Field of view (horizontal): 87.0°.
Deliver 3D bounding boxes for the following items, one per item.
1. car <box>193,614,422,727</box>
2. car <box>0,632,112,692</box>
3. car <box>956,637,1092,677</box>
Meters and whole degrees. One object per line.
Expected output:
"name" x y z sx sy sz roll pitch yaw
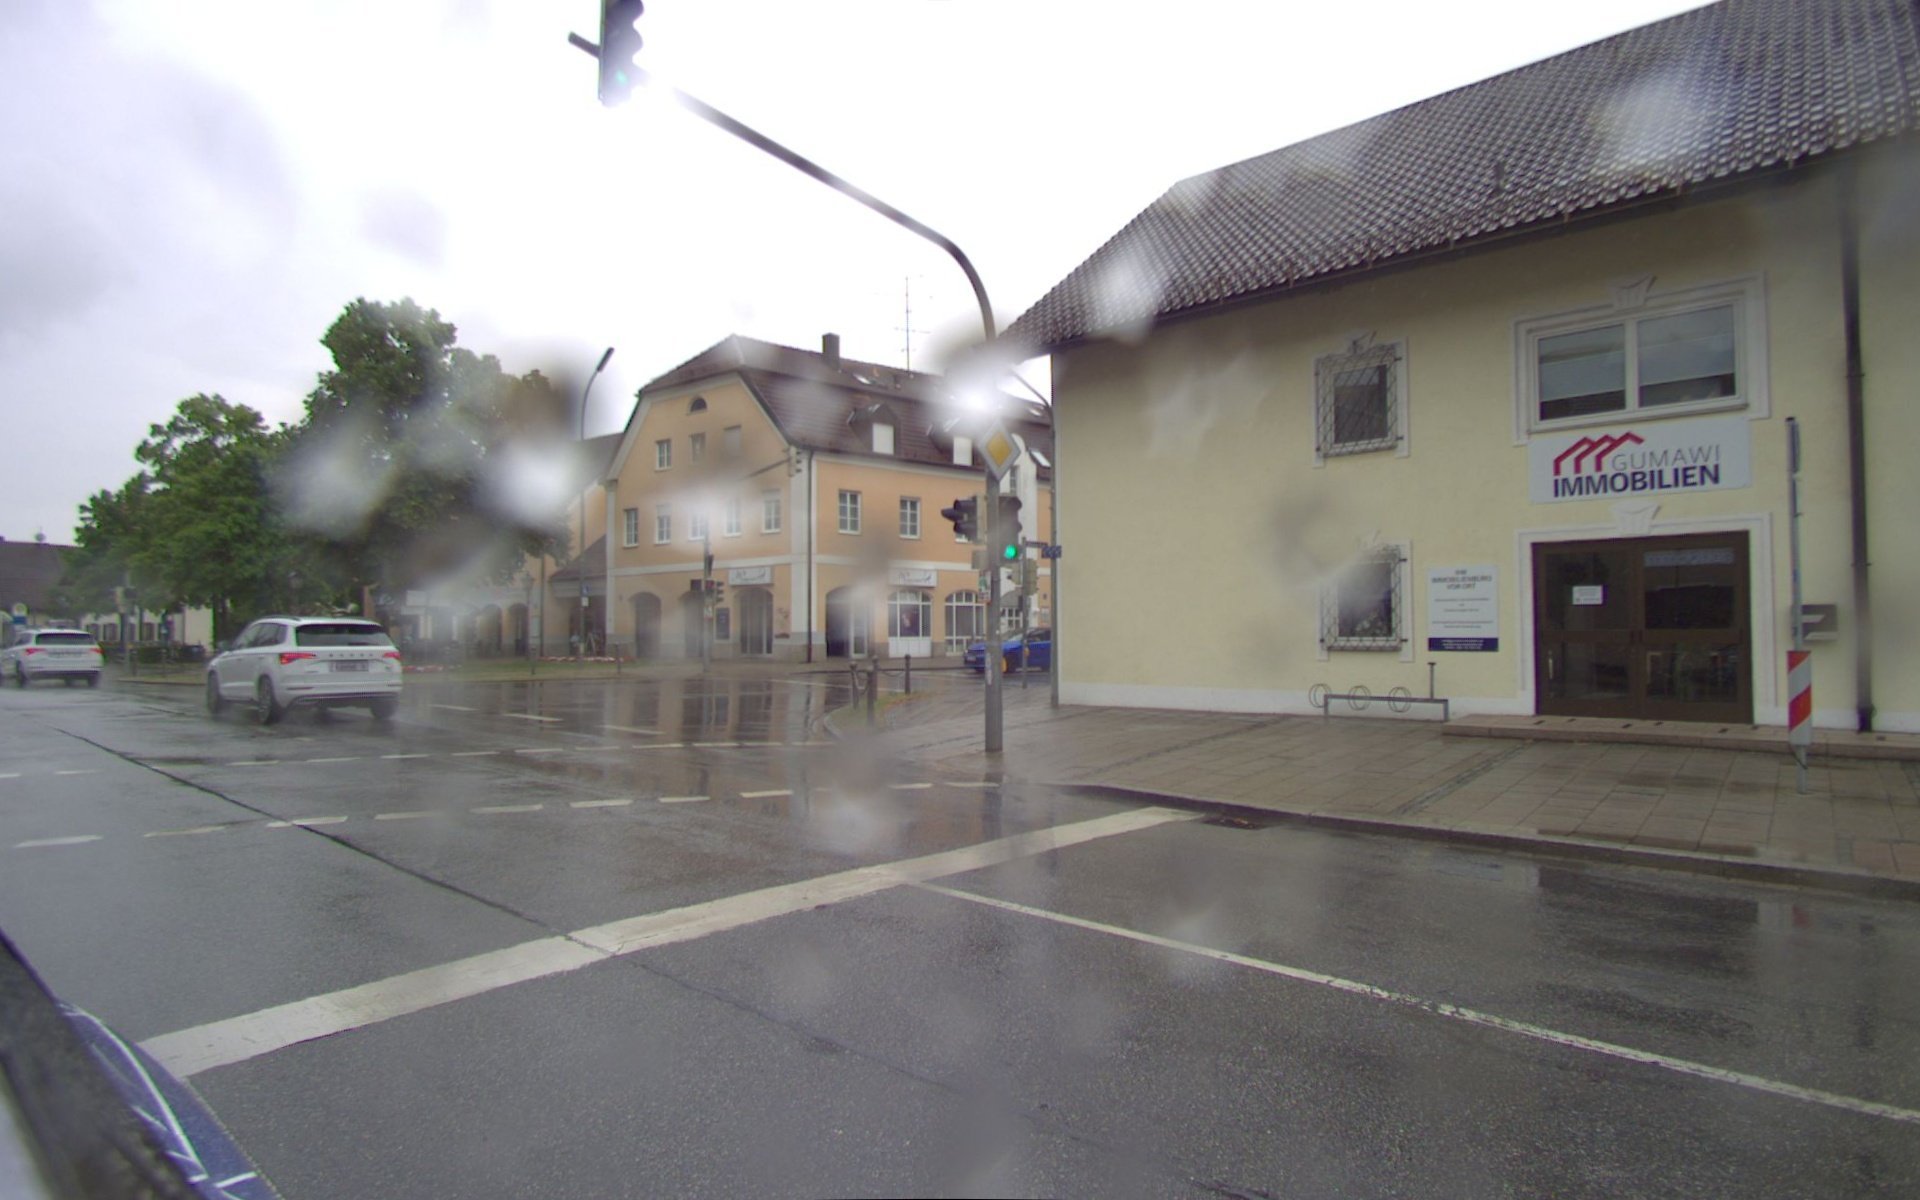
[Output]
"car" -10.507 1.055 16.201 4.122 1.578 1.907 -2 -2 40
"car" -25.778 1.700 28.557 4.145 1.575 1.948 -1 -3 38
"car" 2.095 1.810 32.802 4.288 1.194 1.693 1 -2 -35
